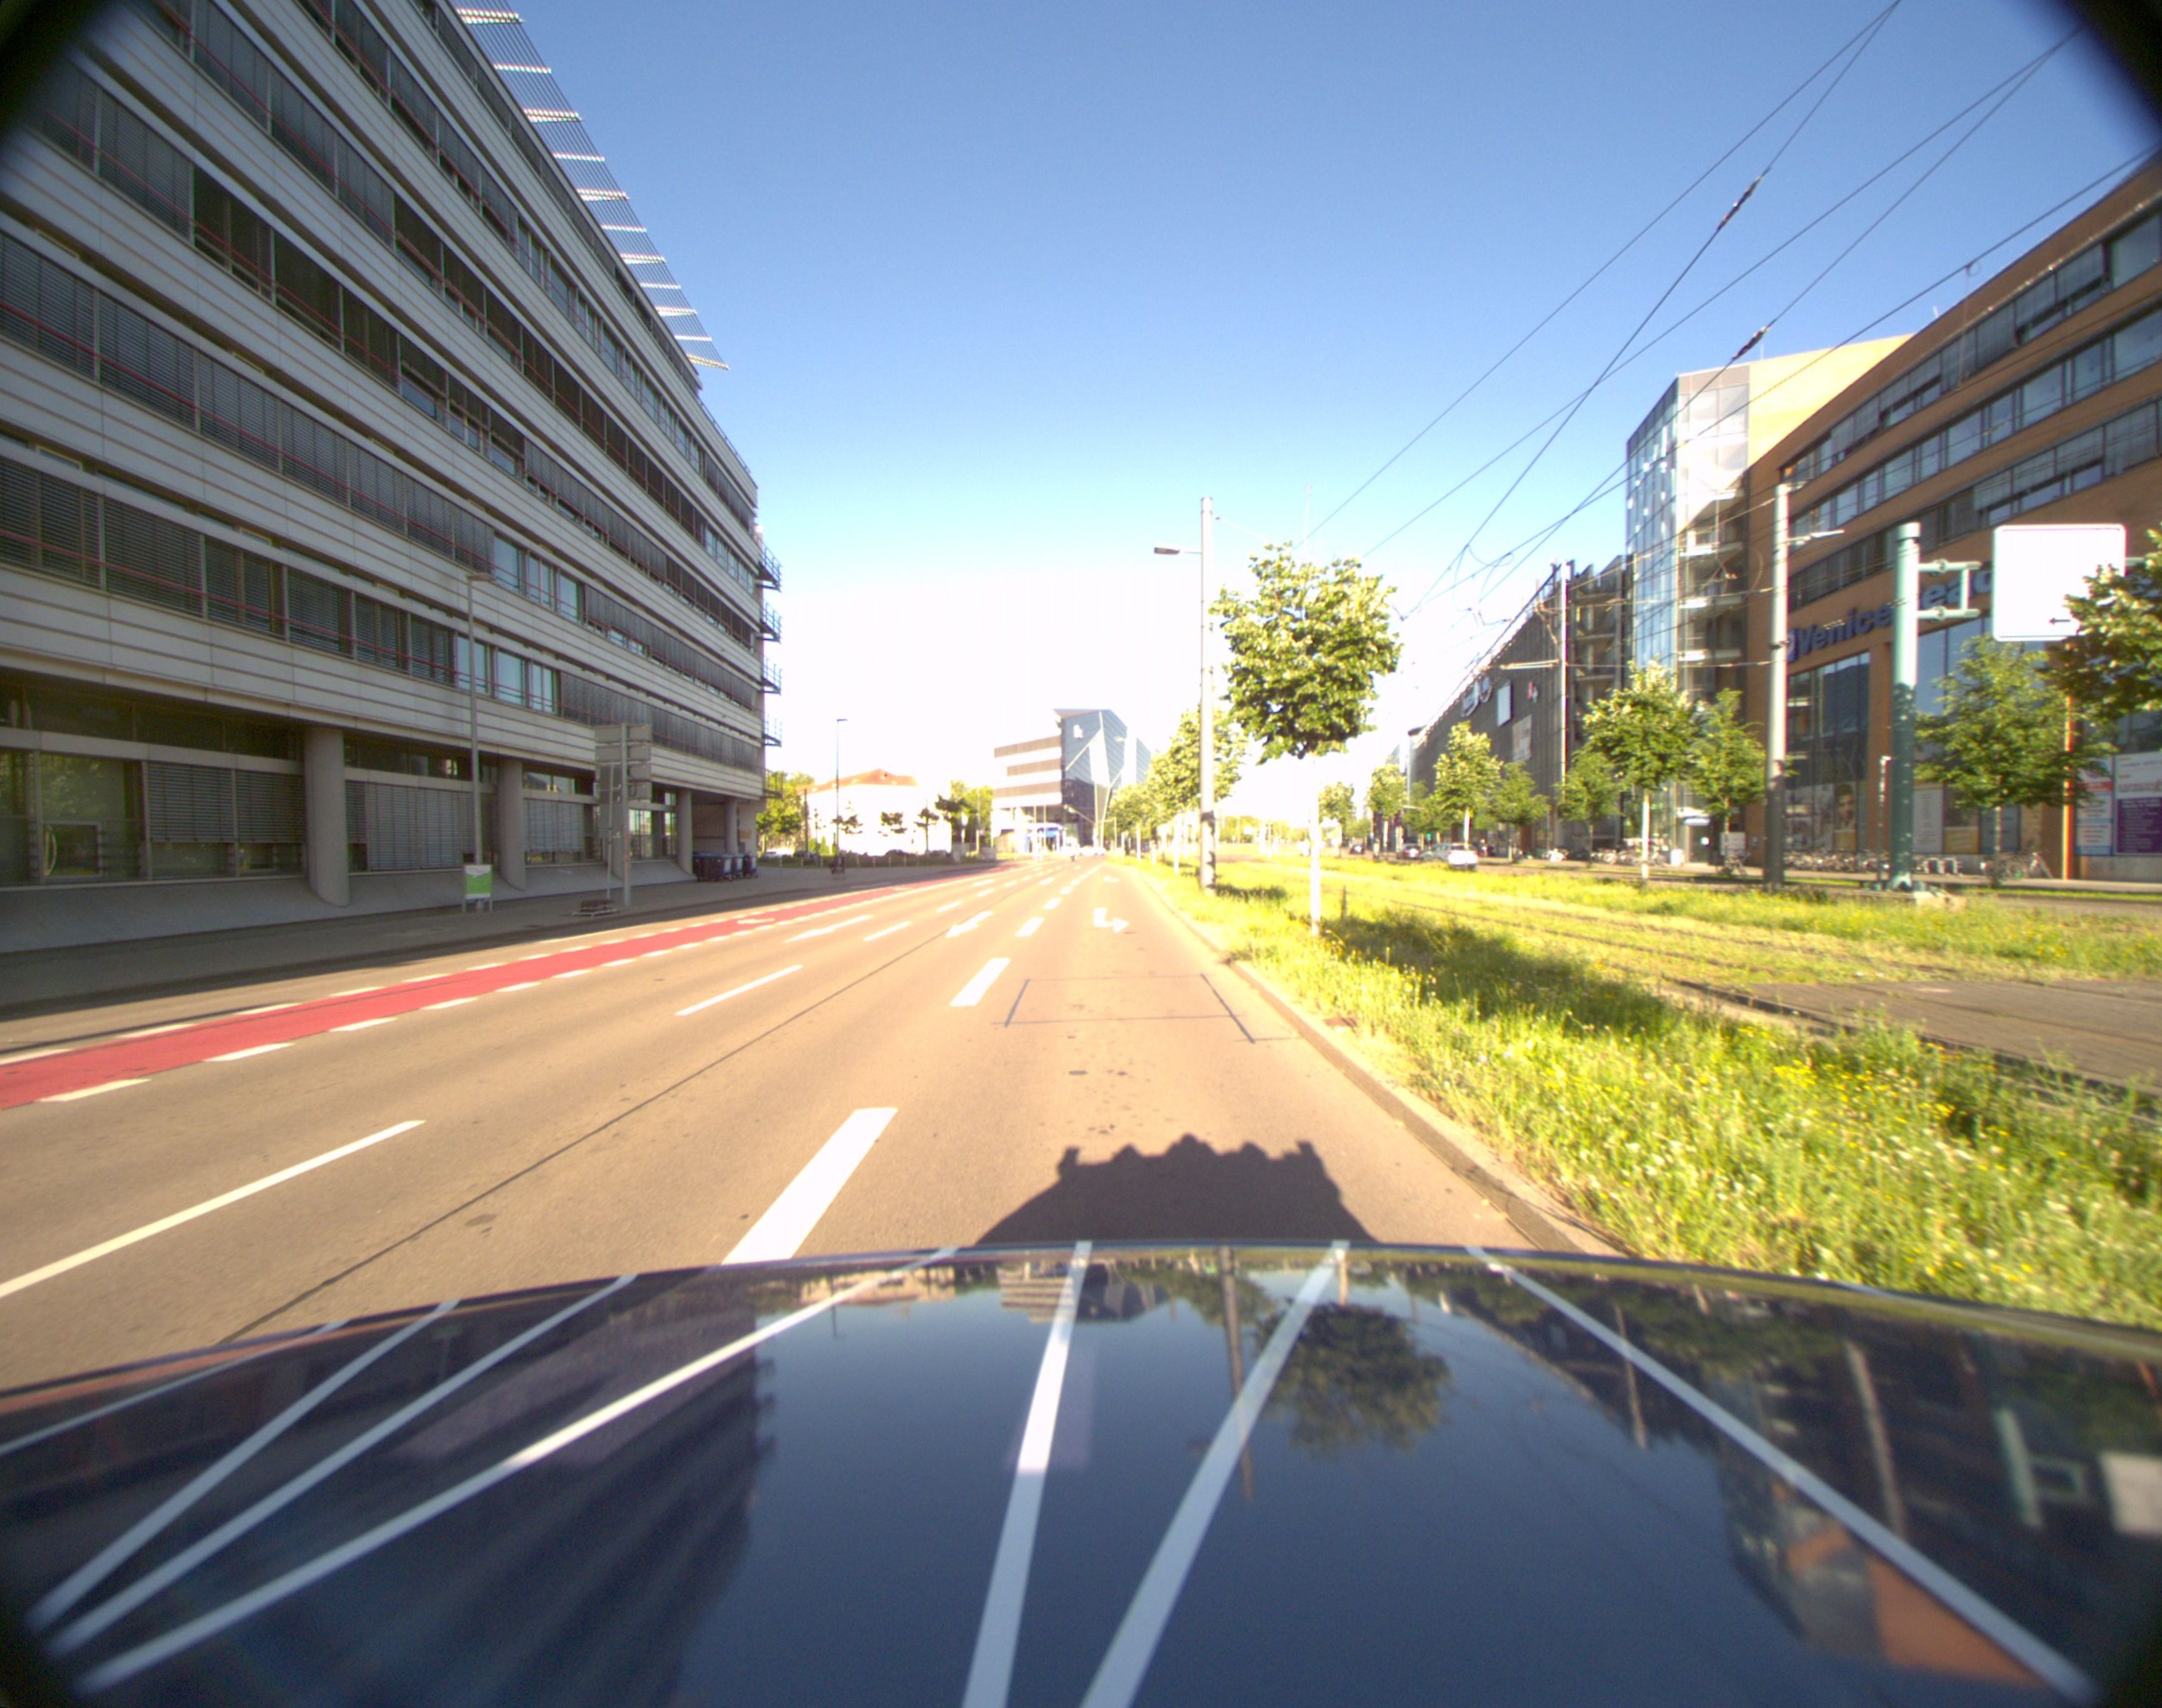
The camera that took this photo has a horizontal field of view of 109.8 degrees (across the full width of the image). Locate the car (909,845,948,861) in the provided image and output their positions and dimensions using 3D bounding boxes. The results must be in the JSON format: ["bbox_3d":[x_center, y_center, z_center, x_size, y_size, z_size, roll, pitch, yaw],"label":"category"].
[{"bbox_3d":[-15.196,-0.082,75.748,3.790,1.523,1.744,0,2,37],"label":"car"}]

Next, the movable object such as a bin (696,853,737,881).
[{"bbox_3d":[-17.040,0.600,35.545,1.328,1.294,1.174,-1,1,1],"label":"movable object such as a bin"}]

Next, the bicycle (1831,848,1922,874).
[{"bbox_3d":[34.613,0.312,33.099,2.687,1.097,0.896,0,1,11],"label":"bicycle"}]

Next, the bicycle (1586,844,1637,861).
[{"bbox_3d":[36.198,-0.093,51.885,2.687,1.097,0.896,0,1,11],"label":"bicycle"}]

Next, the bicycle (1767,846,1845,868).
[{"bbox_3d":[35.542,0.148,37.296,2.687,1.097,0.896,0,1,11],"label":"bicycle"}]

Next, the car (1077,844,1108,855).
[{"bbox_3d":[1.677,-0.664,112.998,4.344,1.519,1.681,1,1,24],"label":"car"}]

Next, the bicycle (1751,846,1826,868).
[{"bbox_3d":[35.785,0.157,38.456,2.687,1.097,0.896,0,1,11],"label":"bicycle"}]

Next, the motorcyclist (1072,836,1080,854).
[{"bbox_3d":[-0.538,-0.945,79.692,0.821,1.847,1.112,0,2,-2],"label":"motorcyclist"}]

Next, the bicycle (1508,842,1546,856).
[{"bbox_3d":[38.112,-0.420,64.968,2.687,1.182,0.896,0,1,11],"label":"bicycle"}]

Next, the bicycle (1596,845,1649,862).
[{"bbox_3d":[35.748,-0.036,50.190,2.687,1.097,0.896,0,1,11],"label":"bicycle"}]

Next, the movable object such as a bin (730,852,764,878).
[{"bbox_3d":[-17.644,0.564,40.156,1.173,1.294,1.328,-1,1,1],"label":"movable object such as a bin"}]

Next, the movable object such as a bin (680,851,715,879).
[{"bbox_3d":[-18.967,0.537,37.598,1.109,1.366,1.108,-1,1,1],"label":"movable object such as a bin"}]

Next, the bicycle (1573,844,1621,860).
[{"bbox_3d":[36.481,-0.143,53.769,2.687,1.097,0.896,0,1,11],"label":"bicycle"}]

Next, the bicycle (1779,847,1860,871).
[{"bbox_3d":[35.025,0.227,36.074,2.687,1.097,0.896,0,1,11],"label":"bicycle"}]

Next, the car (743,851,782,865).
[{"bbox_3d":[-36.196,0.471,86.430,3.794,1.523,1.742,0,1,13],"label":"car"}]

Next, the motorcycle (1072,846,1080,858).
[{"bbox_3d":[-0.536,-0.212,79.558,0.821,1.214,2.254,0,1,-2],"label":"motorcycle"}]

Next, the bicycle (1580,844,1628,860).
[{"bbox_3d":[36.359,-0.121,52.859,2.687,1.097,0.826,0,1,11],"label":"bicycle"}]

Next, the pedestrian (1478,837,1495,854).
[{"bbox_3d":[38.746,-0.819,72.627,1.072,1.672,1.095,-1,1,-5],"label":"pedestrian"}]

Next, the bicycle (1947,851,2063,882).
[{"bbox_3d":[33.385,0.460,27.502,2.687,1.097,0.896,0,1,11],"label":"bicycle"}]

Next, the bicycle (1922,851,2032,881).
[{"bbox_3d":[33.587,0.454,28.529,2.687,1.097,0.896,0,1,11],"label":"bicycle"}]

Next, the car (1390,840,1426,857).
[{"bbox_3d":[30.671,-0.535,71.455,1.626,1.519,4.355,0,1,2],"label":"car"}]

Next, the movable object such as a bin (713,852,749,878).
[{"bbox_3d":[-17.842,0.550,38.813,1.173,1.294,1.328,-1,1,1],"label":"movable object such as a bin"}]

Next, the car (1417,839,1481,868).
[{"bbox_3d":[20.582,-0.047,42.752,1.625,1.519,4.804,-1,1,5],"label":"car"}]

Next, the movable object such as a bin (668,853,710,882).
[{"bbox_3d":[-18.402,0.624,35.668,1.328,1.294,1.174,-1,1,1],"label":"movable object such as a bin"}]

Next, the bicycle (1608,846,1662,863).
[{"bbox_3d":[35.205,0.028,48.320,2.687,1.097,0.896,0,1,11],"label":"bicycle"}]

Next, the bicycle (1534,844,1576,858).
[{"bbox_3d":[37.040,-0.232,59.408,2.687,1.097,0.896,0,1,11],"label":"bicycle"}]

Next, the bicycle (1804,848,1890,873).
[{"bbox_3d":[34.689,0.278,34.437,2.687,1.097,0.896,0,1,11],"label":"bicycle"}]

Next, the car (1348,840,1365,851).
[{"bbox_3d":[36.328,-1.129,100.110,1.624,1.519,4.359,1,1,14],"label":"car"}]
